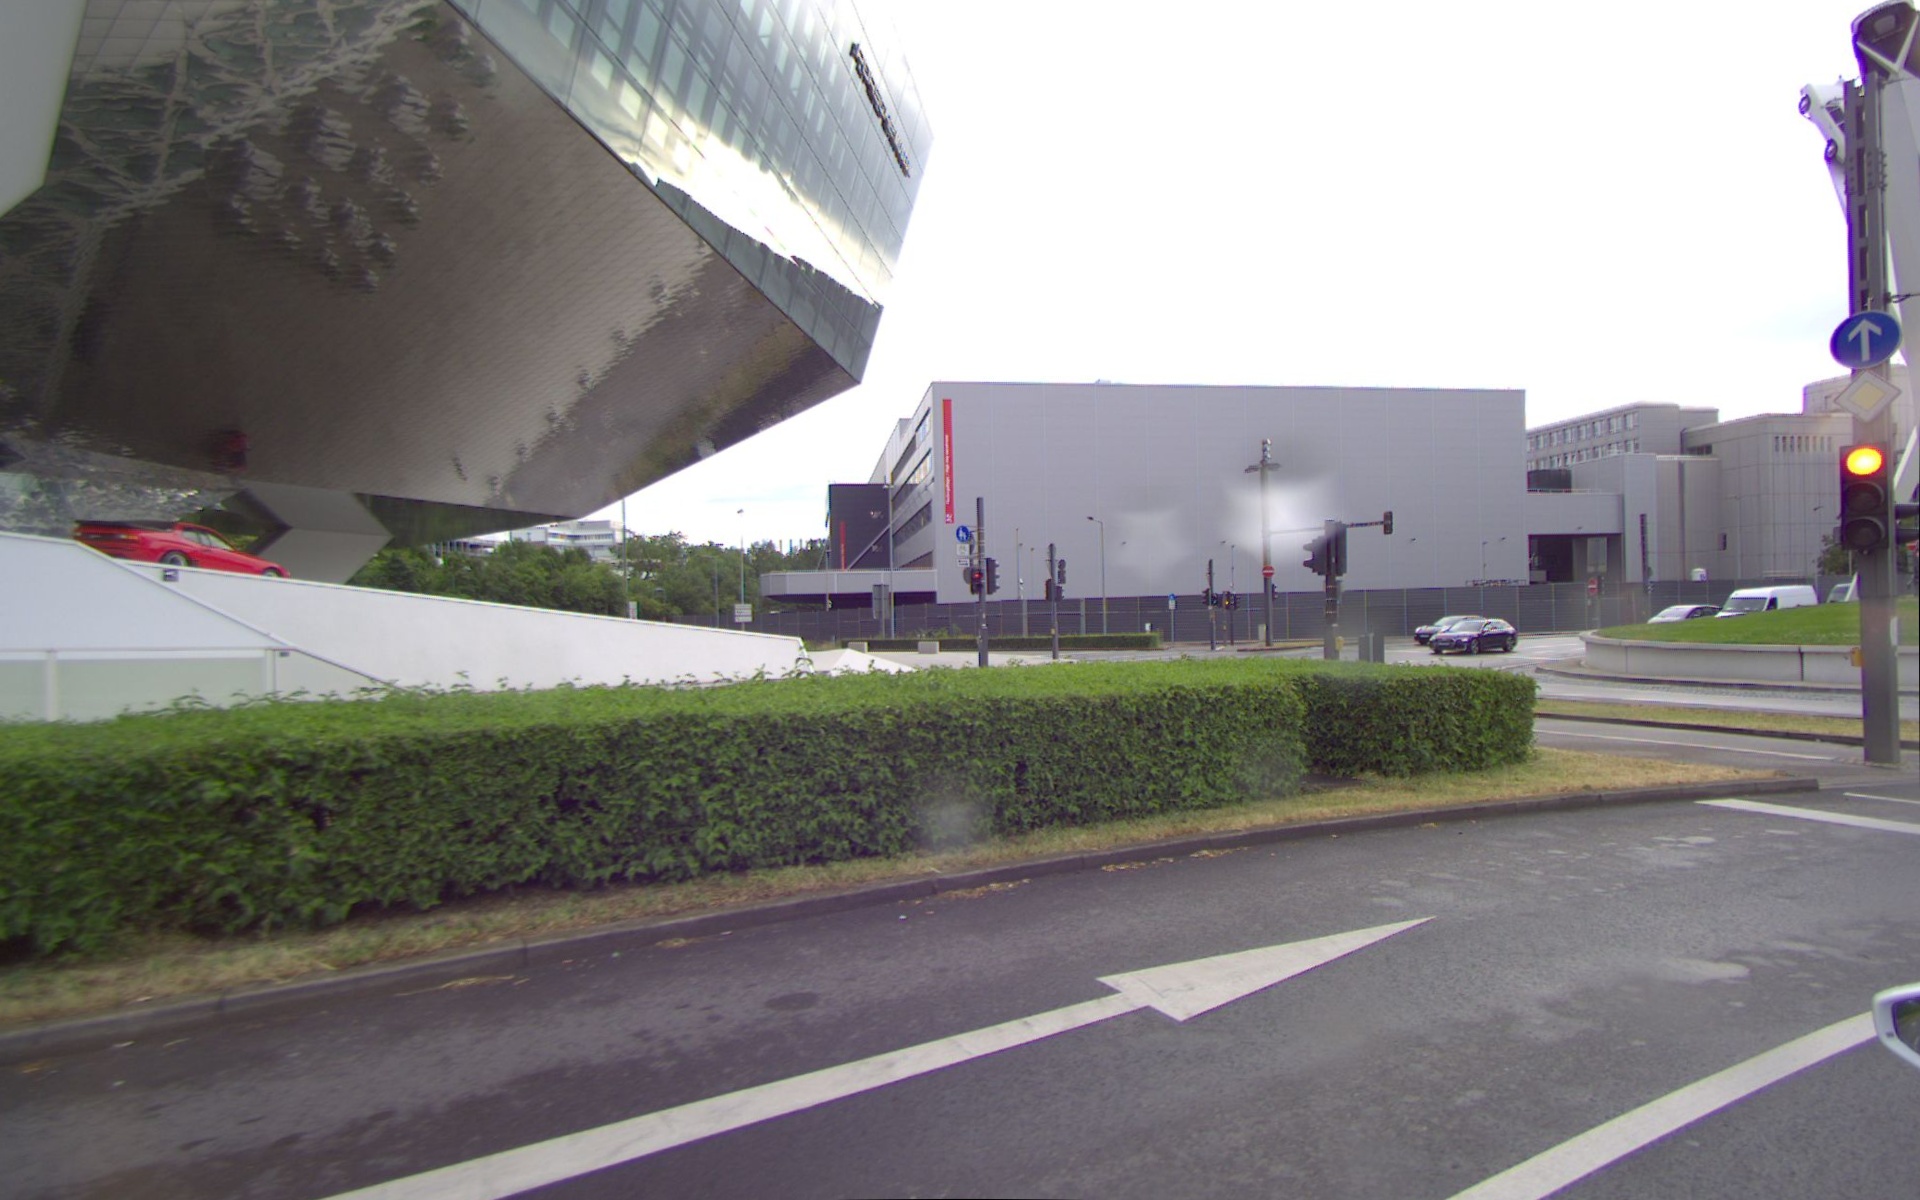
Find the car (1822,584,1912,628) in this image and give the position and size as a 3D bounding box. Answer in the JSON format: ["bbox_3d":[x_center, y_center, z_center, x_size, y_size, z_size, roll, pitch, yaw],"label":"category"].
[{"bbox_3d":[60.101,0.428,66.517,7.033,2.858,1.960,1,-1,-26],"label":"car"}]

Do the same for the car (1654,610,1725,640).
[{"bbox_3d":[38.774,1.318,53.350,3.958,1.514,1.822,1,-1,-34],"label":"car"}]

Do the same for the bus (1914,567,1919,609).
[{"bbox_3d":[79.080,-0.870,79.739,12.546,3.243,2.650,1,-1,-36],"label":"bus"}]

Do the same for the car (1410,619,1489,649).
[{"bbox_3d":[25.515,1.758,52.302,4.470,1.491,1.821,1,-1,-36],"label":"car"}]

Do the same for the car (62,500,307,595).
[{"bbox_3d":[-16.296,-1.028,21.411,1.605,1.258,4.108,0,-8,8],"label":"car"}]

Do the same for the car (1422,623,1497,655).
[{"bbox_3d":[22.565,1.716,45.316,3.972,1.356,1.828,1,-1,-44],"label":"car"}]

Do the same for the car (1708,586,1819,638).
[{"bbox_3d":[39.327,0.600,49.157,5.349,2.479,1.989,0,-1,-24],"label":"car"}]
